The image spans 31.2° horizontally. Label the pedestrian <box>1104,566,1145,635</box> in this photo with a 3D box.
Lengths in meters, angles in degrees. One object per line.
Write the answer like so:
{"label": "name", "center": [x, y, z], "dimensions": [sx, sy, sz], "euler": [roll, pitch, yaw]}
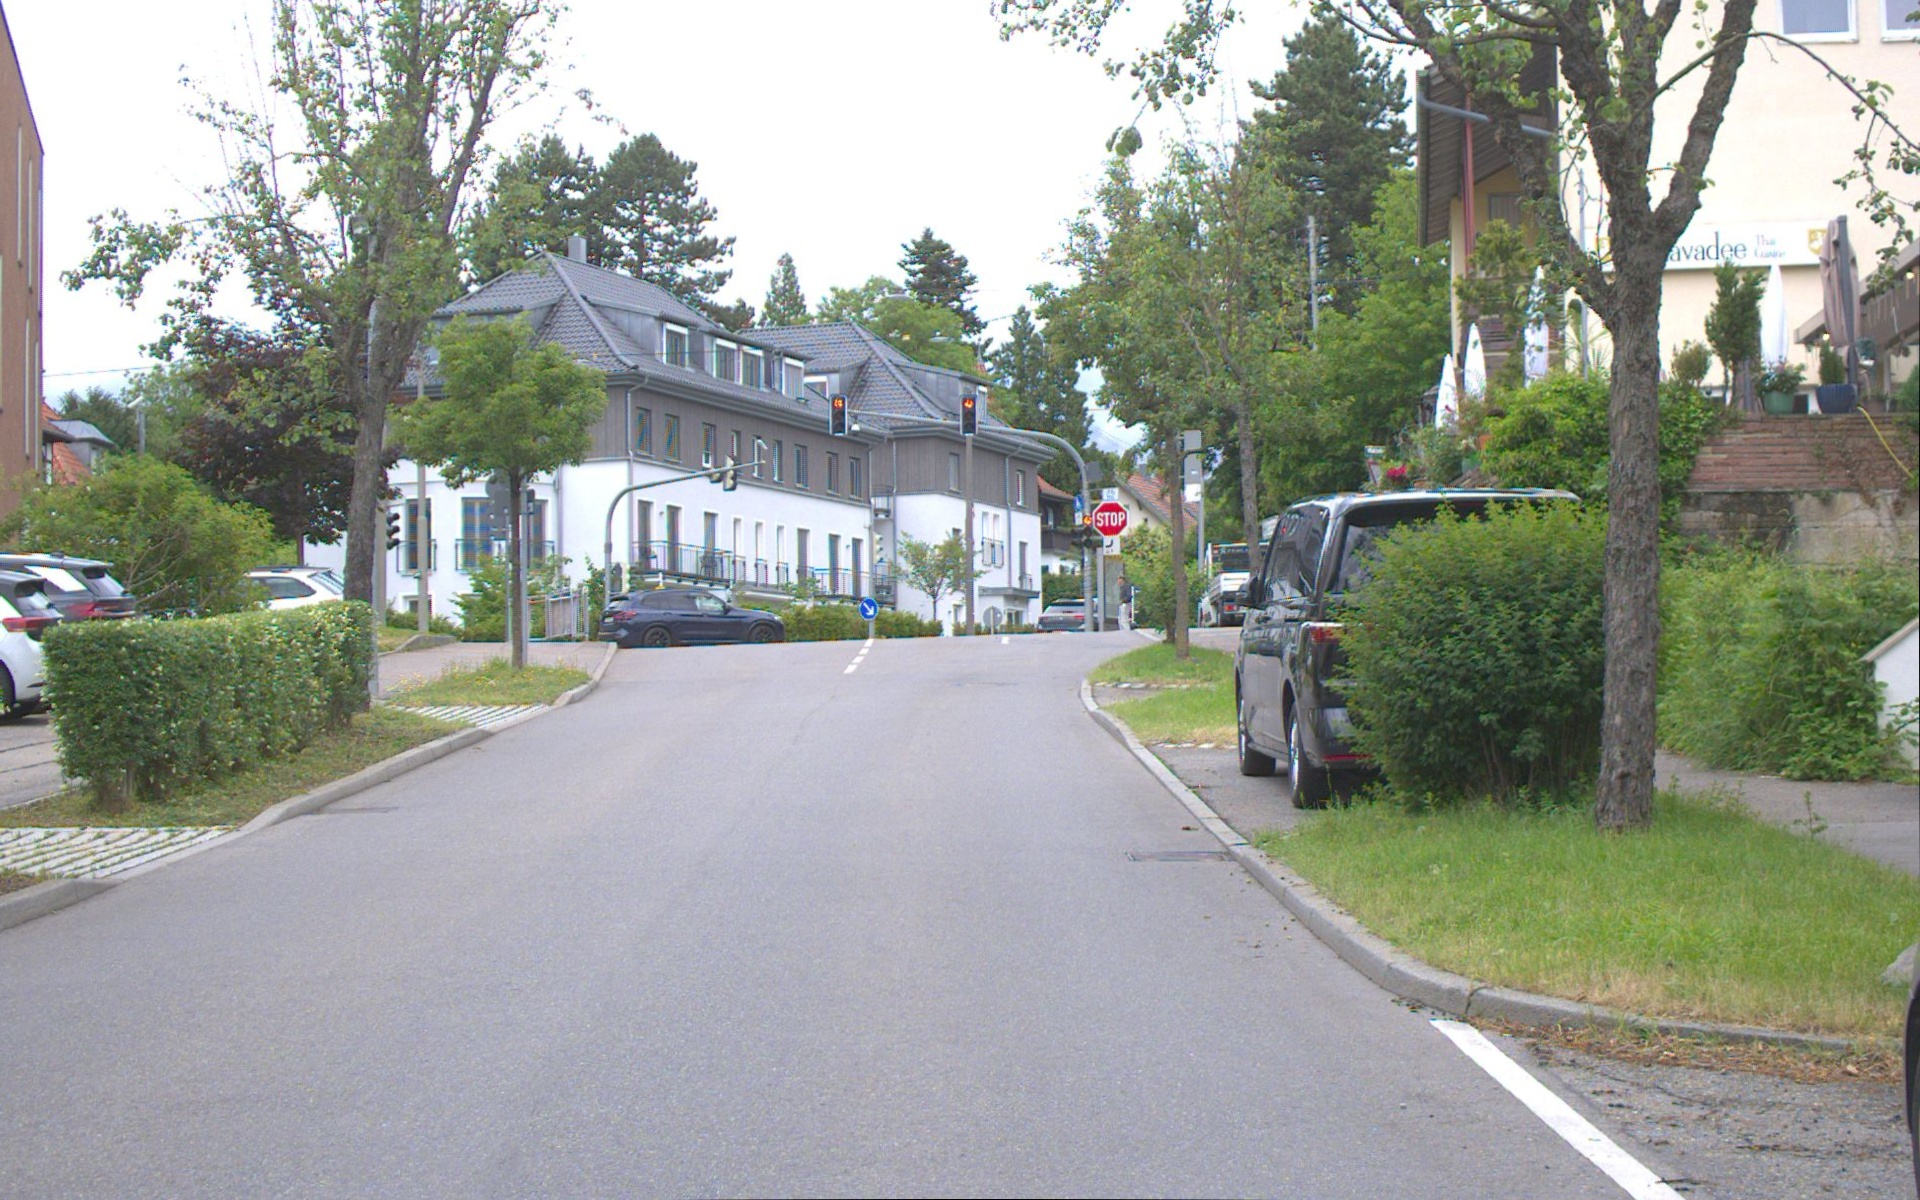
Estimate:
{"label": "pedestrian", "center": [4.041, 0.018, 84.677], "dimensions": [0.698, 1.676, 0.685], "euler": [-2, 1, -41]}

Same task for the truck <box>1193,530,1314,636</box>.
{"label": "truck", "center": [6.845, -0.354, 80.875], "dimensions": [2.183, 2.188, 5.881], "euler": [-1, -2, -1]}

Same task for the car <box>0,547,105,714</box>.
{"label": "car", "center": [-10.750, 0.334, 33.372], "dimensions": [4.386, 1.561, 2.066], "euler": [-2, 1, -2]}

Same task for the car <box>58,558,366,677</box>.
{"label": "car", "center": [-11.309, 0.265, 52.204], "dimensions": [4.259, 1.618, 2.014], "euler": [-2, -1, -3]}

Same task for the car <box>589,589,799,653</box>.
{"label": "car", "center": [-6.573, 0.503, 85.137], "dimensions": [4.696, 1.486, 2.161], "euler": [-1, 1, -28]}

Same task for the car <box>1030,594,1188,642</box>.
{"label": "car", "center": [4.179, 0.501, 96.434], "dimensions": [3.987, 1.283, 2.000], "euler": [0, 1, -32]}

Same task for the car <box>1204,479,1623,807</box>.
{"label": "car", "center": [2.766, 0.217, 22.182], "dimensions": [1.936, 1.831, 5.219], "euler": [-1, 1, -1]}

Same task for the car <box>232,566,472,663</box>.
{"label": "car", "center": [-10.020, 0.223, 56.880], "dimensions": [3.759, 1.459, 1.732], "euler": [-2, 1, -6]}

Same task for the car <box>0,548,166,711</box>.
{"label": "car", "center": [-10.545, 0.303, 35.957], "dimensions": [3.987, 1.648, 2.008], "euler": [0, 1, 0]}

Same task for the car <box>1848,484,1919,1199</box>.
{"label": "car", "center": [2.899, 0.592, 5.819], "dimensions": [1.717, 1.627, 3.929], "euler": [1, 1, -1]}
